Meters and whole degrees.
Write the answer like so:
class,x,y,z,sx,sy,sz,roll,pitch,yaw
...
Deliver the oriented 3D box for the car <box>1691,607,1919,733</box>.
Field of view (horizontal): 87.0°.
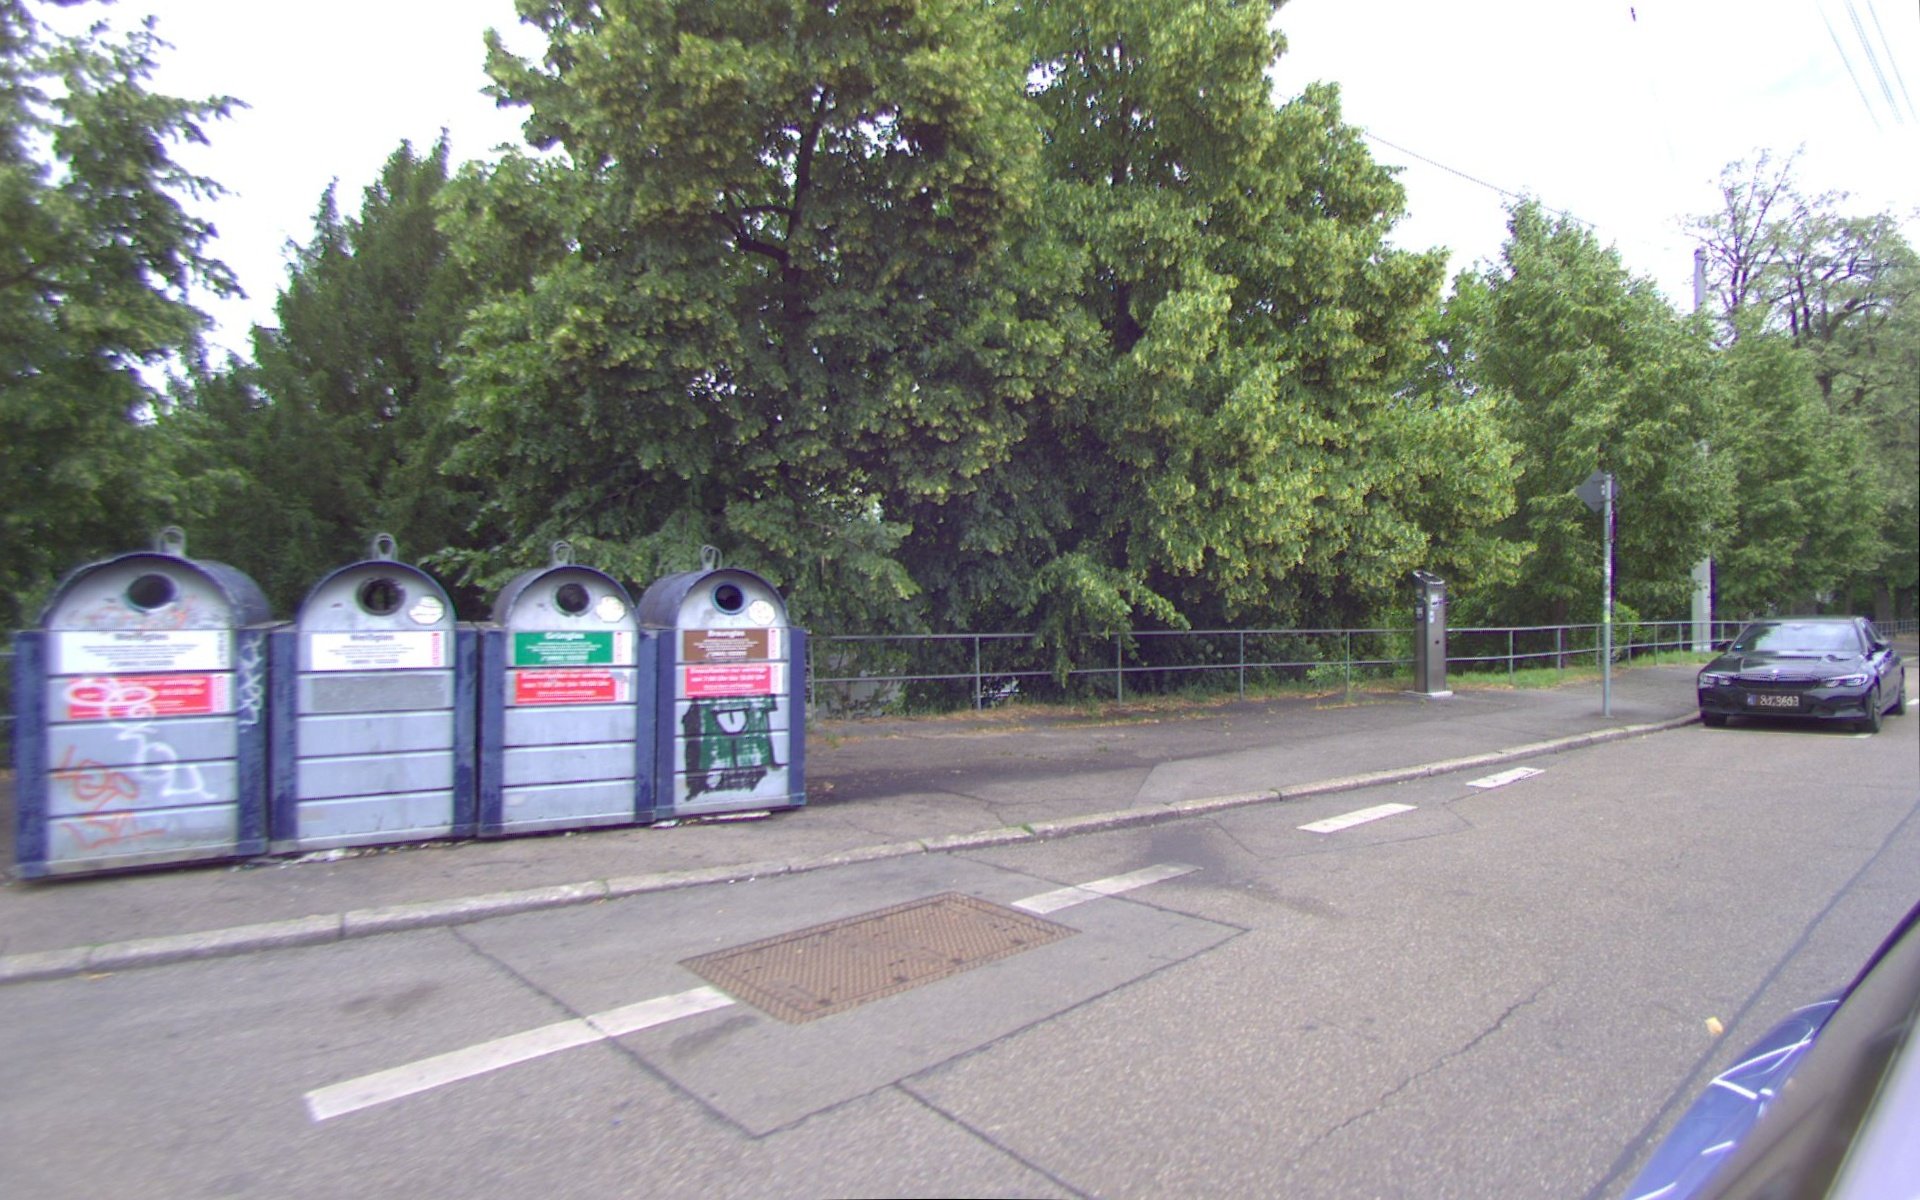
class,x,y,z,sx,sy,sz,roll,pitch,yaw
car,11.853,0.857,13.992,4.311,1.461,1.861,0,-2,-41
